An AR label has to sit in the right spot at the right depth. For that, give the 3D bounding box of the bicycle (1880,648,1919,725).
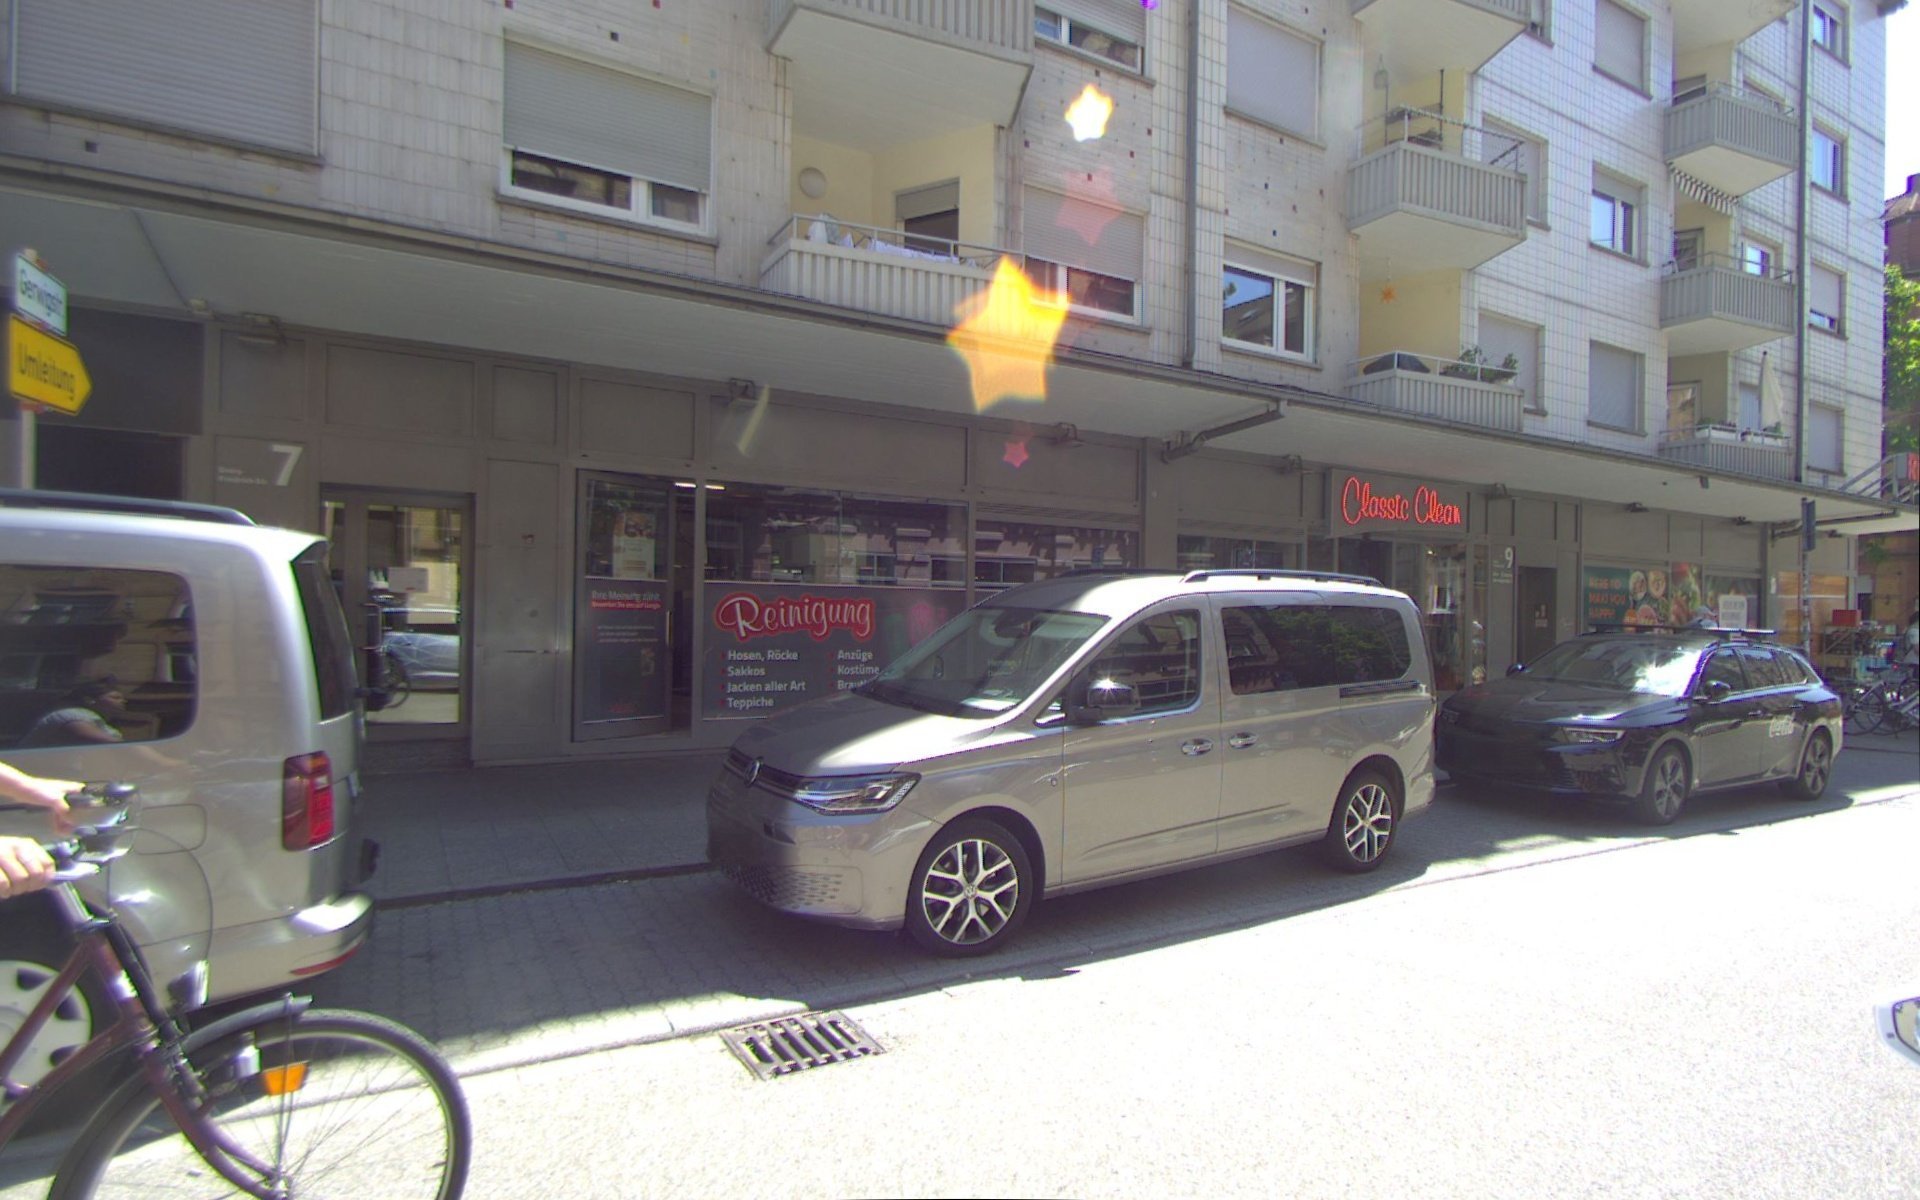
[{"bbox_3d":[15.115,1.359,15.103,0.572,1.138,1.786,1,1,-35],"label":"bicycle"}]

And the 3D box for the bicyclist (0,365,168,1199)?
[{"bbox_3d":[-1.921,0.508,1.564,0.967,1.729,0.620,1,0,-30],"label":"bicyclist"}]

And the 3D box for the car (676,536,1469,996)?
[{"bbox_3d":[0.877,0.694,6.030,4.648,1.835,1.778,1,0,-33],"label":"car"}]

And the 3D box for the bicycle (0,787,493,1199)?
[{"bbox_3d":[-1.838,0.970,1.612,1.917,1.106,0.600,1,-1,-31],"label":"bicycle"}]

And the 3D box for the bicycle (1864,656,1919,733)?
[{"bbox_3d":[13.989,1.386,14.411,0.332,1.050,1.438,1,2,-33],"label":"bicycle"}]

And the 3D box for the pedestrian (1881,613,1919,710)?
[{"bbox_3d":[18.260,1.176,19.346,0.927,1.821,0.527,1,-1,-30],"label":"pedestrian"}]

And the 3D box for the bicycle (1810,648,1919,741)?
[{"bbox_3d":[12.804,1.296,13.820,0.521,1.154,1.574,1,2,-33],"label":"bicycle"}]

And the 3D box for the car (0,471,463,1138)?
[{"bbox_3d":[-4.198,0.530,2.901,4.843,1.853,1.780,1,0,-30],"label":"car"}]

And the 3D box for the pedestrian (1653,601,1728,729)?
[{"bbox_3d":[10.333,0.898,14.214,0.650,1.749,0.628,1,-1,-29],"label":"pedestrian"}]

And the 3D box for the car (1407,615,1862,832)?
[{"bbox_3d":[6.266,0.966,9.209,4.410,1.545,1.662,1,0,-30],"label":"car"}]

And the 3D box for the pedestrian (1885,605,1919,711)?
[{"bbox_3d":[16.508,0.998,17.446,0.593,1.794,0.506,1,-1,-32],"label":"pedestrian"}]

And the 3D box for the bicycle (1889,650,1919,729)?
[{"bbox_3d":[14.635,1.363,14.655,0.332,1.132,1.510,1,2,-33],"label":"bicycle"}]

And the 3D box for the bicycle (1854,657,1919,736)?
[{"bbox_3d":[13.633,1.382,14.127,0.394,1.044,1.484,1,2,-33],"label":"bicycle"}]

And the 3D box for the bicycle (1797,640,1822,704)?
[{"bbox_3d":[15.993,1.333,18.905,0.317,1.101,1.425,1,1,41],"label":"bicycle"}]

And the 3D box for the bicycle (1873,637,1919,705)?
[{"bbox_3d":[18.376,1.349,19.404,1.988,1.263,0.532,1,-1,-30],"label":"bicycle"}]
